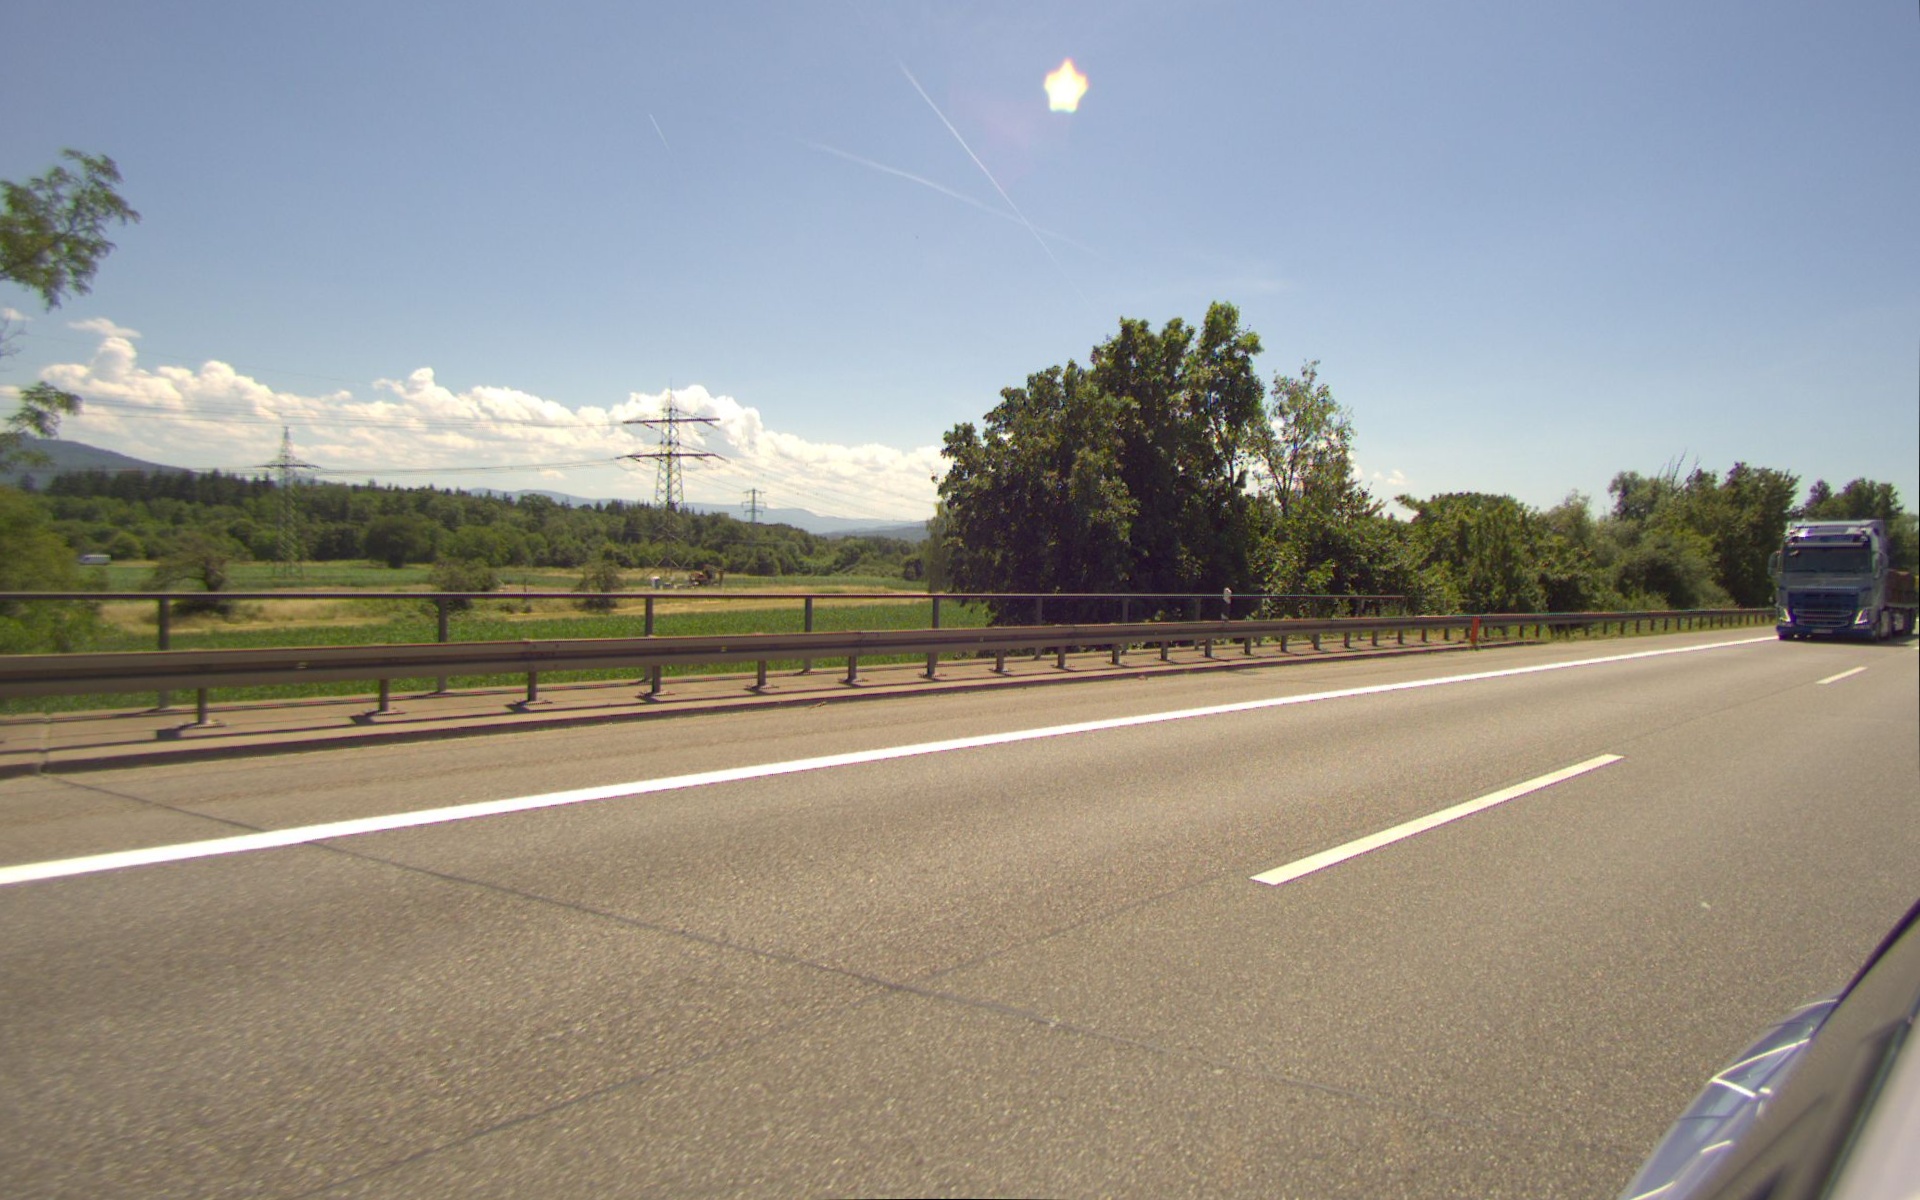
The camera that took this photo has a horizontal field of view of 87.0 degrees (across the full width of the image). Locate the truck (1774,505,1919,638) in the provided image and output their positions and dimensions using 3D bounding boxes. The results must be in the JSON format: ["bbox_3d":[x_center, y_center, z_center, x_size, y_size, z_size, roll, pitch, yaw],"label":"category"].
[{"bbox_3d":[33.402,-0.948,37.297,16.332,4.006,2.973,0,1,-43],"label":"truck"}]
